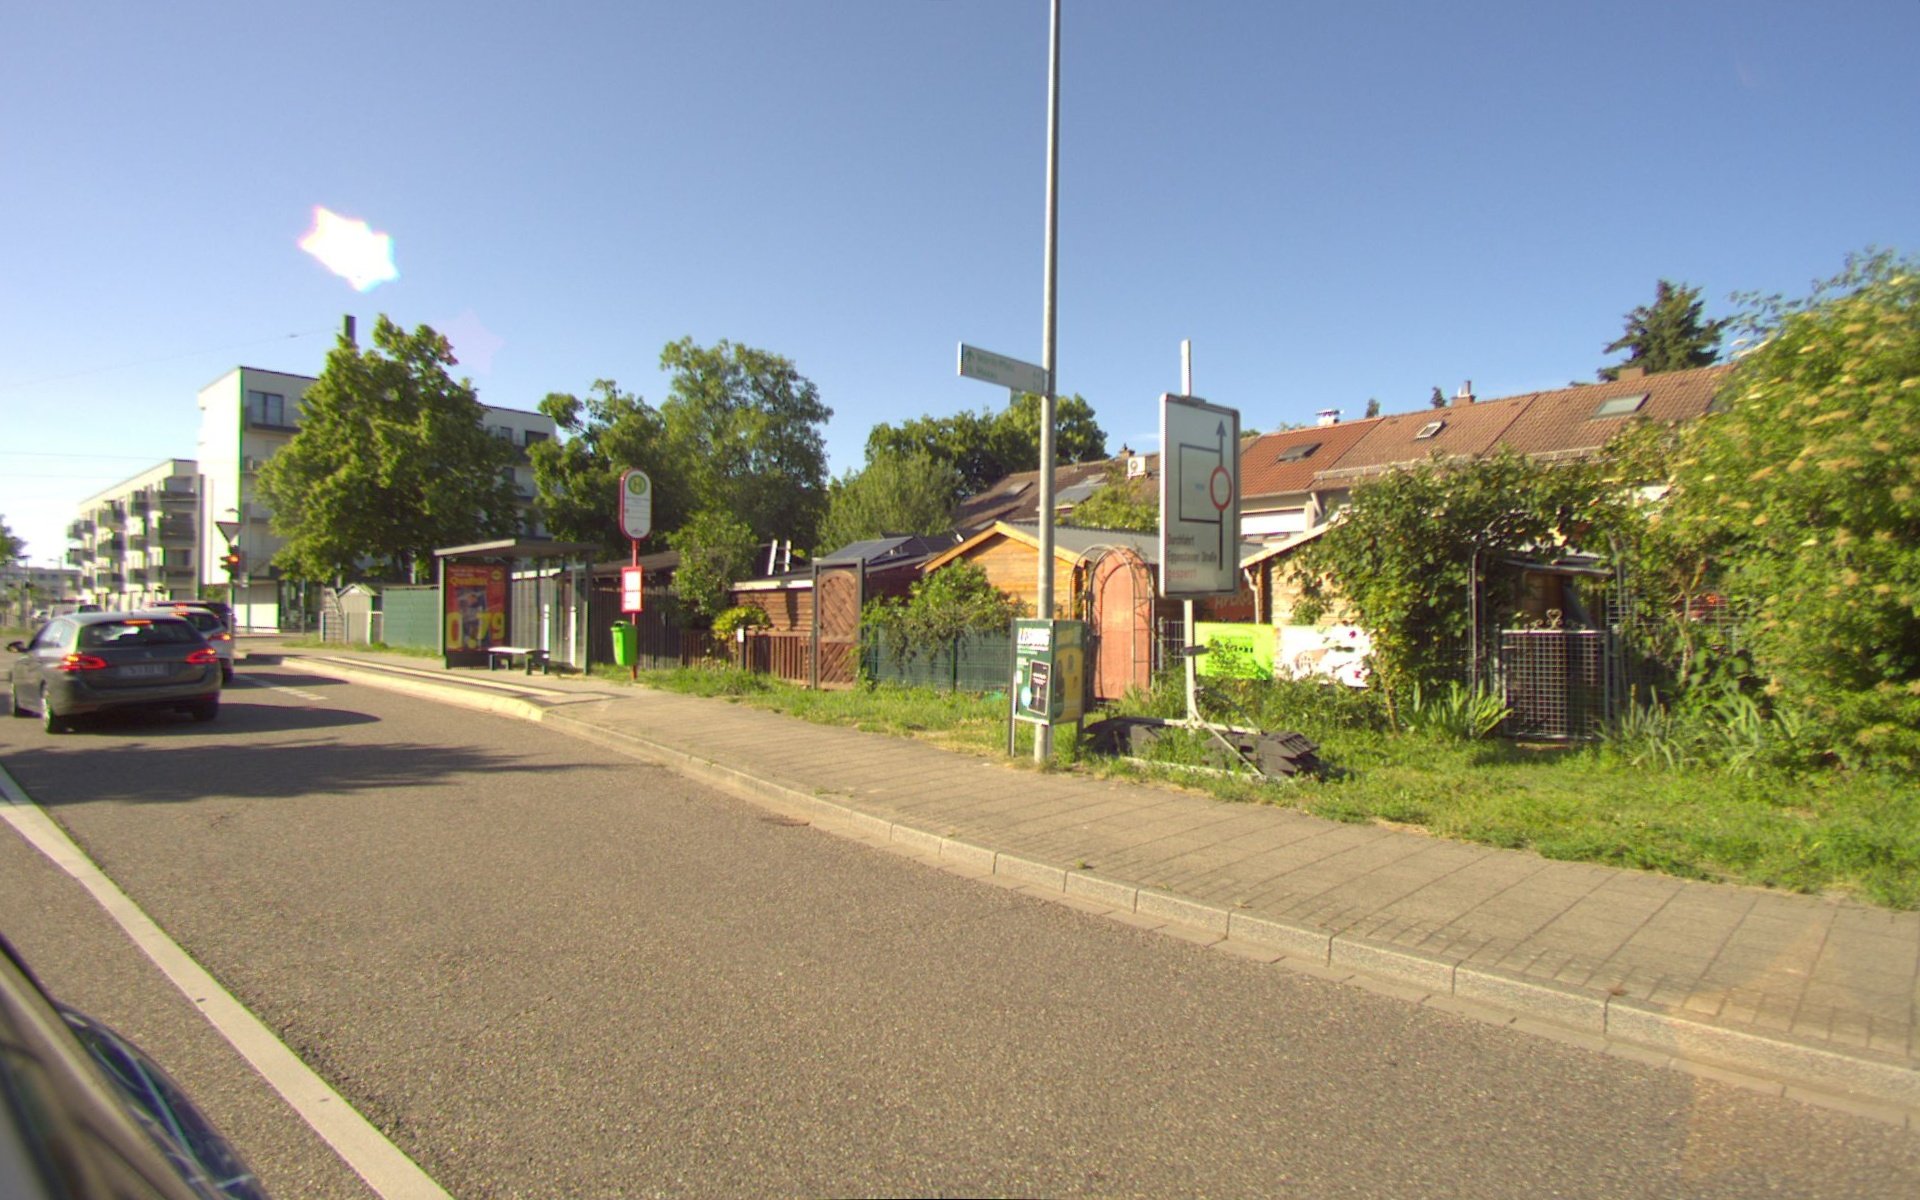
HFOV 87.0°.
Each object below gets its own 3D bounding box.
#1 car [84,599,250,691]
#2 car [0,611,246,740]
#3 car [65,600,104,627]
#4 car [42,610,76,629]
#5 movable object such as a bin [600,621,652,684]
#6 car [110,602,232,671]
[{"bbox_3d":[-15.811,0.800,20.088,2.183,1.603,4.538,1,0,-43],"label":"car"},{"bbox_3d":[-11.583,0.891,13.832,4.448,1.454,1.973,-1,0,41],"label":"car"},{"bbox_3d":[-71.110,1.117,82.193,4.002,2.029,1.971,2,0,44],"label":"car"},{"bbox_3d":[-83.062,1.757,93.294,4.000,1.565,1.972,2,0,43],"label":"car"},{"bbox_3d":[-5.568,0.865,16.849,0.558,0.975,0.586,-1,2,45],"label":"movable object such as a bin"},{"bbox_3d":[-20.070,0.866,25.676,4.183,1.600,1.918,-1,-1,45],"label":"car"}]
